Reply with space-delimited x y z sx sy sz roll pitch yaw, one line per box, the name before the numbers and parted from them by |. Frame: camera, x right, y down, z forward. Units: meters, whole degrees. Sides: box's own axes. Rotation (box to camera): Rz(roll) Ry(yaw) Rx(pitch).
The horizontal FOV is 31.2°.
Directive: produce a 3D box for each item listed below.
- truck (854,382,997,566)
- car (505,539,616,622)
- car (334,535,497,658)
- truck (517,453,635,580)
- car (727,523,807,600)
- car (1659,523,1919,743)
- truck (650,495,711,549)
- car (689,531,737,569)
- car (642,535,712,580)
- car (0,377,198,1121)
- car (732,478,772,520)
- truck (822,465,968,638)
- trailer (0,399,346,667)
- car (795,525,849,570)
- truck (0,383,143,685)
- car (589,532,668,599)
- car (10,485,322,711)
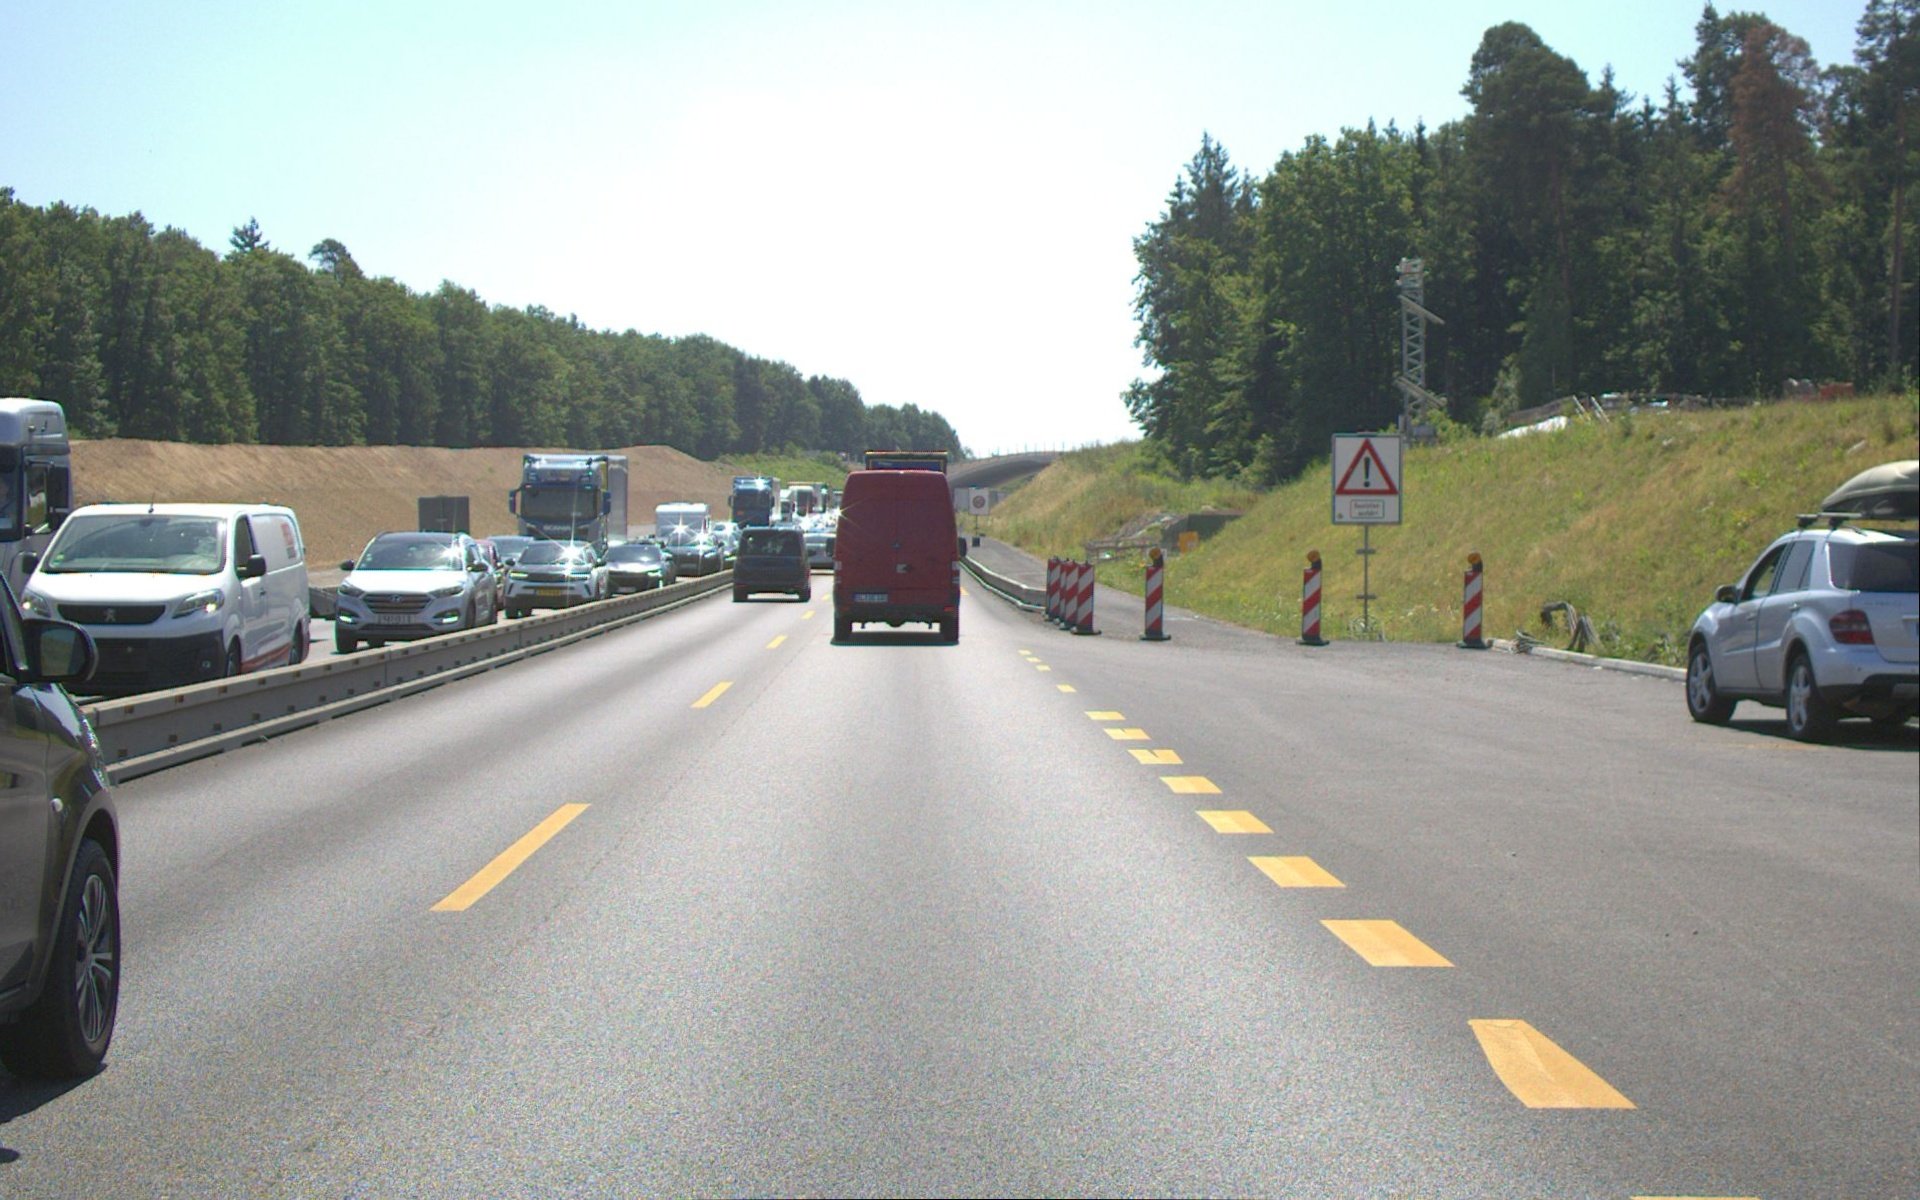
truck | -1.187 -4.046 116.242 4.400 5.477 16.603 1 0 -1
car | -7.799 -0.367 67.385 1.625 1.552 4.068 1 0 1
car | -7.619 -0.040 48.433 1.724 1.625 4.391 1 0 -2
truck | -11.695 -2.482 105.538 2.509 3.605 9.641 1 0 0
car | -4.726 -0.955 84.663 1.751 1.818 4.783 1 1 -1
car | 7.529 0.218 29.297 1.774 1.671 4.856 1 1 -4
truck | -13.017 -3.608 160.494 2.400 2.350 5.227 1 0 0
car | -9.005 -1.822 125.398 1.464 1.323 3.371 1 0 0
car | -8.854 -1.314 107.737 1.841 1.323 3.942 1 0 0
car | -3.301 0.363 8.023 1.874 1.845 5.479 1 0 -1
car | -13.438 -6.536 222.321 2.385 2.571 4.000 1 0 -2
truck | -1.020 -0.732 54.666 2.153 2.581 5.333 1 0 -1
trailer | -10.648 -0.807 45.351 2.346 2.922 15.270 1 0 0
car | -4.967 -1.884 124.260 1.831 1.517 3.961 1 0 -1
truck | -10.686 -0.677 37.323 2.398 3.048 5.062 1 0 0
car | -8.252 -0.840 85.776 1.683 1.590 3.224 1 0 -1
car | -7.351 -0.010 32.359 1.825 1.920 5.264 1 0 -2
